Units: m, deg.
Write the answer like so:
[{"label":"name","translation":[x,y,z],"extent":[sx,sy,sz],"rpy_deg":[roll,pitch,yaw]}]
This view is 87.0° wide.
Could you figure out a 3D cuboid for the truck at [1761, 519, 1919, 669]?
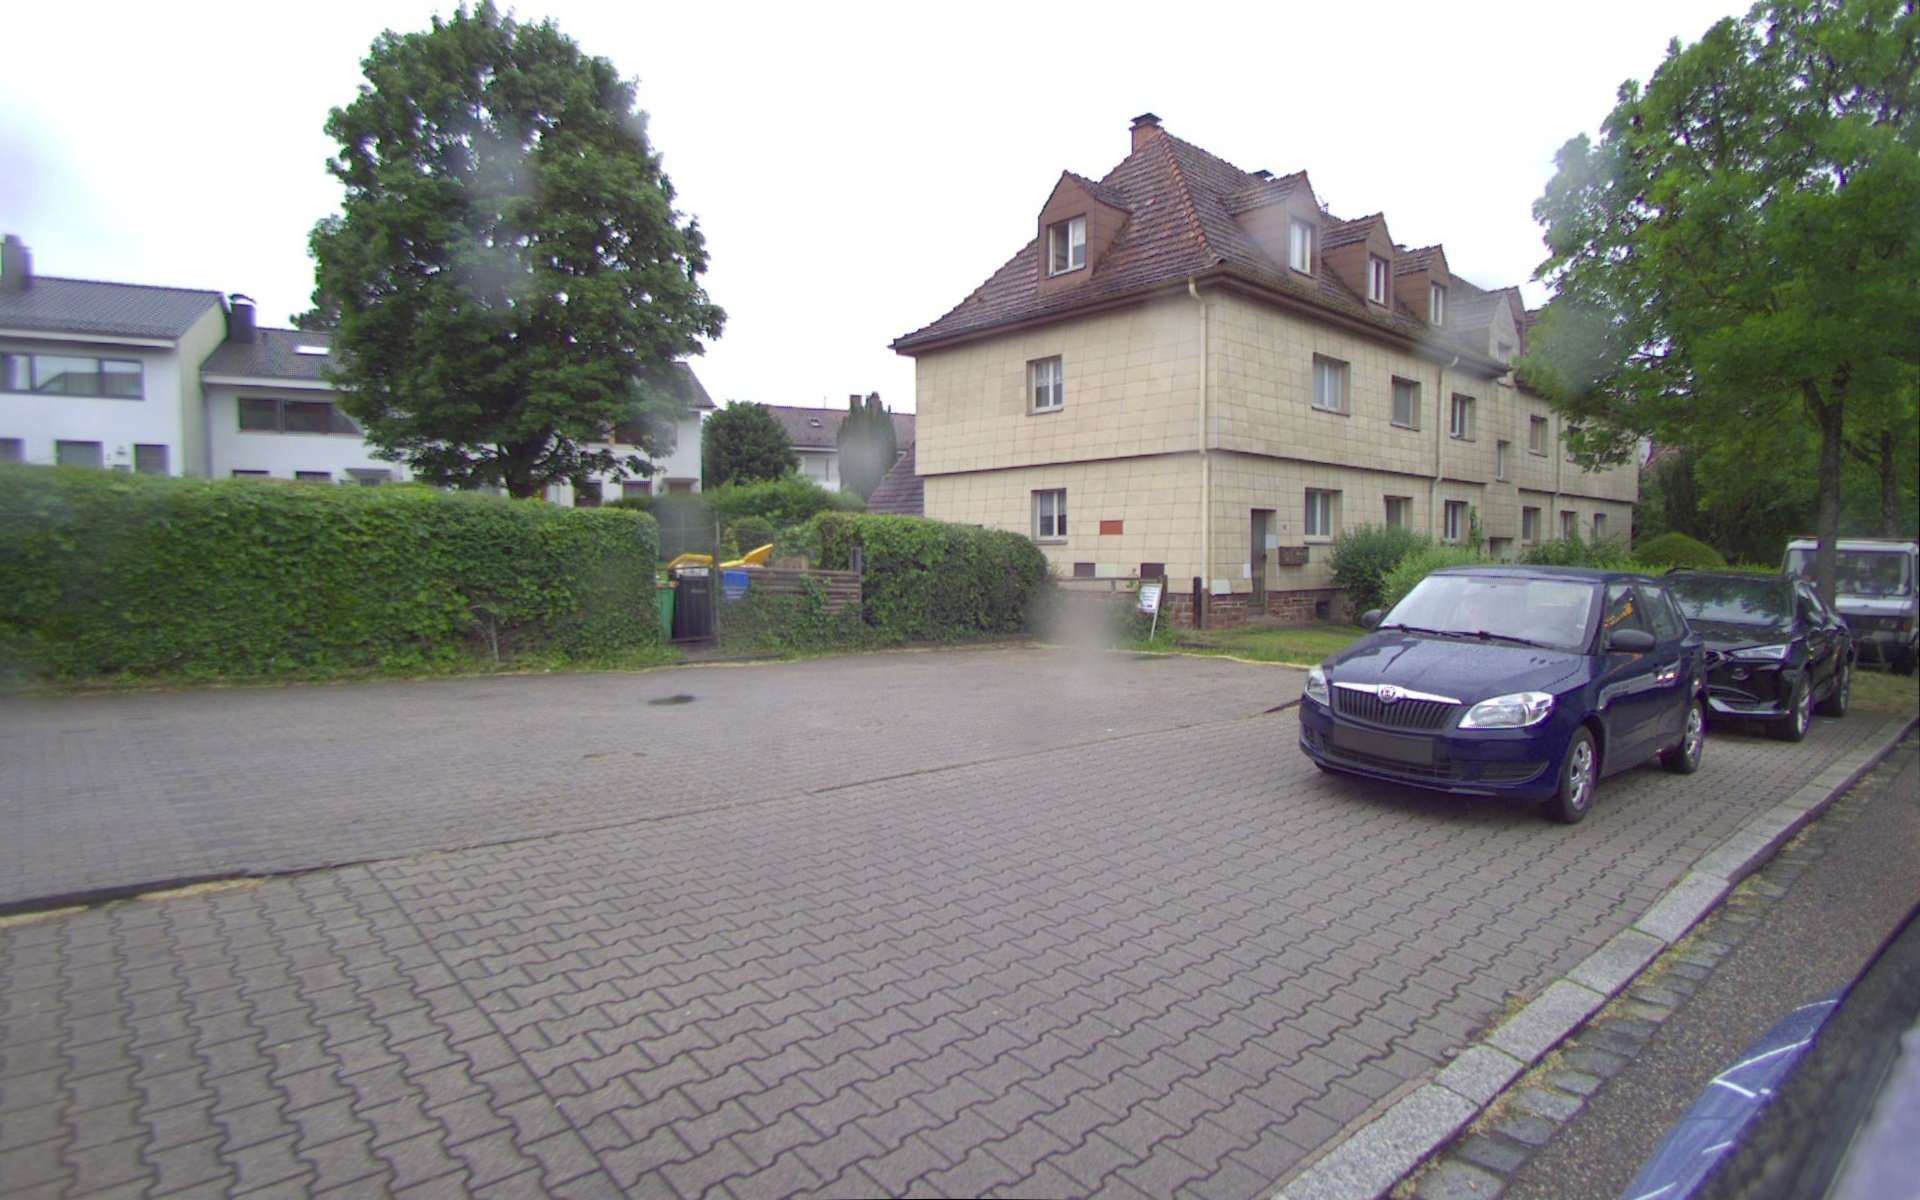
[{"label":"truck","translation":[15.883,-0.142,17.553],"extent":[5.654,2.224,1.998],"rpy_deg":[0,2,-40]}]

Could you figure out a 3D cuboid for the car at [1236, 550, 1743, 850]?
[{"label":"car","translation":[3.782,0.428,6.943],"extent":[3.931,1.441,1.719],"rpy_deg":[-1,4,-41]}]

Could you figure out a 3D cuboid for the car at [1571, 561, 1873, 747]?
[{"label":"car","translation":[7.895,0.384,10.357],"extent":[3.932,1.481,1.719],"rpy_deg":[-2,5,-42]}]

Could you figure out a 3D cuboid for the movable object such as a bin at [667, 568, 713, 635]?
[{"label":"movable object such as a bin","translation":[-3.972,0.020,14.867],"extent":[0.441,0.954,0.539],"rpy_deg":[-1,0,-45]}]

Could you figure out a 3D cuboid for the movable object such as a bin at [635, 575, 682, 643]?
[{"label":"movable object such as a bin","translation":[-4.337,0.127,14.539],"extent":[0.441,0.954,0.539],"rpy_deg":[-1,0,-45]}]
